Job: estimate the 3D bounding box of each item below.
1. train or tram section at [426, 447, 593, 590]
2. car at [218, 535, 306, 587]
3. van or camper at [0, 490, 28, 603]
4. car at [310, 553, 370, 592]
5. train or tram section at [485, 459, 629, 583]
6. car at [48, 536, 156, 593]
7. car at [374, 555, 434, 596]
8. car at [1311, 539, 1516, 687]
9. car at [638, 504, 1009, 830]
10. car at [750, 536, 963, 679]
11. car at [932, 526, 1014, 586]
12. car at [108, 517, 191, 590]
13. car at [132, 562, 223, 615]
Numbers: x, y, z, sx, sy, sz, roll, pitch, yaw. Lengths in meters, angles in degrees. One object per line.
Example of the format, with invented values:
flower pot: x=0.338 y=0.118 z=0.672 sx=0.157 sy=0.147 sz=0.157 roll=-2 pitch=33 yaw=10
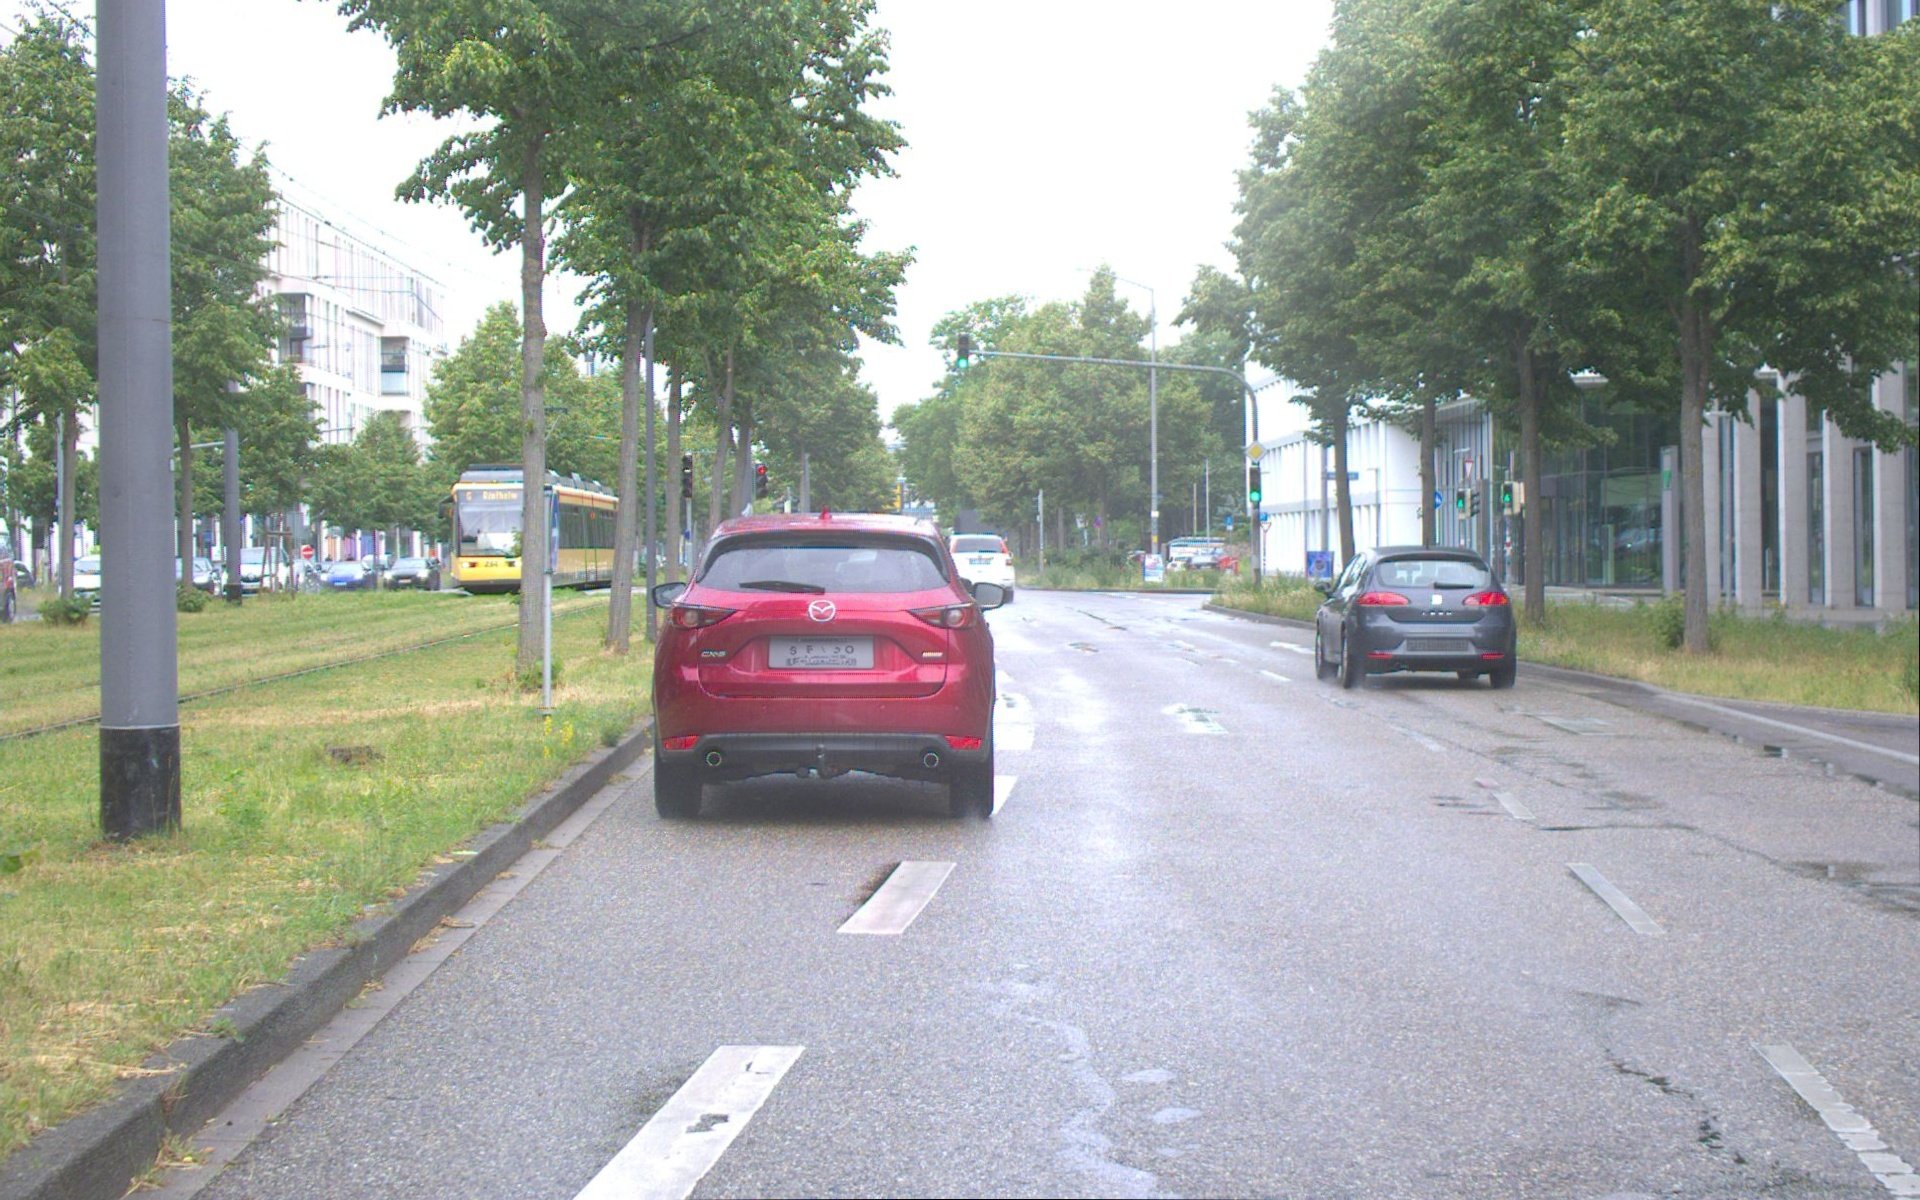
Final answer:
train or tram section: x=-12.304 y=-2.225 z=95.202 sx=3.128 sy=3.646 sz=13.407 roll=0 pitch=1 yaw=-1
car: x=-19.382 y=-1.109 z=95.565 sx=1.710 sy=1.399 sz=4.000 roll=0 pitch=1 yaw=-1
van or camper: x=-21.395 y=-1.115 z=72.799 sx=1.909 sy=2.402 sz=5.402 roll=-1 pitch=1 yaw=-1
car: x=-26.500 y=-1.187 z=147.065 sx=1.993 sy=1.612 sz=4.001 roll=0 pitch=1 yaw=-3
train or tram section: x=-12.666 y=-2.481 z=109.477 sx=3.128 sy=3.646 sz=15.065 roll=0 pitch=1 yaw=-1
car: x=-22.346 y=-0.946 z=89.666 sx=1.884 sy=1.454 sz=4.000 roll=0 pitch=1 yaw=-1
car: x=-22.777 y=-1.010 z=141.002 sx=1.993 sy=1.612 sz=4.001 roll=0 pitch=1 yaw=-3
car: x=4.689 y=0.096 z=35.993 sx=1.743 sy=1.460 sz=3.781 roll=0 pitch=1 yaw=2
car: x=-0.759 y=0.309 z=19.633 sx=1.898 sy=1.671 sz=4.000 roll=0 pitch=1 yaw=-2
car: x=-1.057 y=0.041 z=36.952 sx=1.960 sy=1.460 sz=3.781 roll=0 pitch=1 yaw=3
car: x=0.352 y=-1.112 z=86.557 sx=1.967 sy=1.432 sz=4.552 roll=1 pitch=1 yaw=1
car: x=-29.160 y=-1.684 z=123.793 sx=2.255 sy=2.553 sz=4.656 roll=0 pitch=1 yaw=-5
car: x=-23.941 y=-0.360 z=105.293 sx=1.884 sy=1.454 sz=4.000 roll=4 pitch=1 yaw=-1
